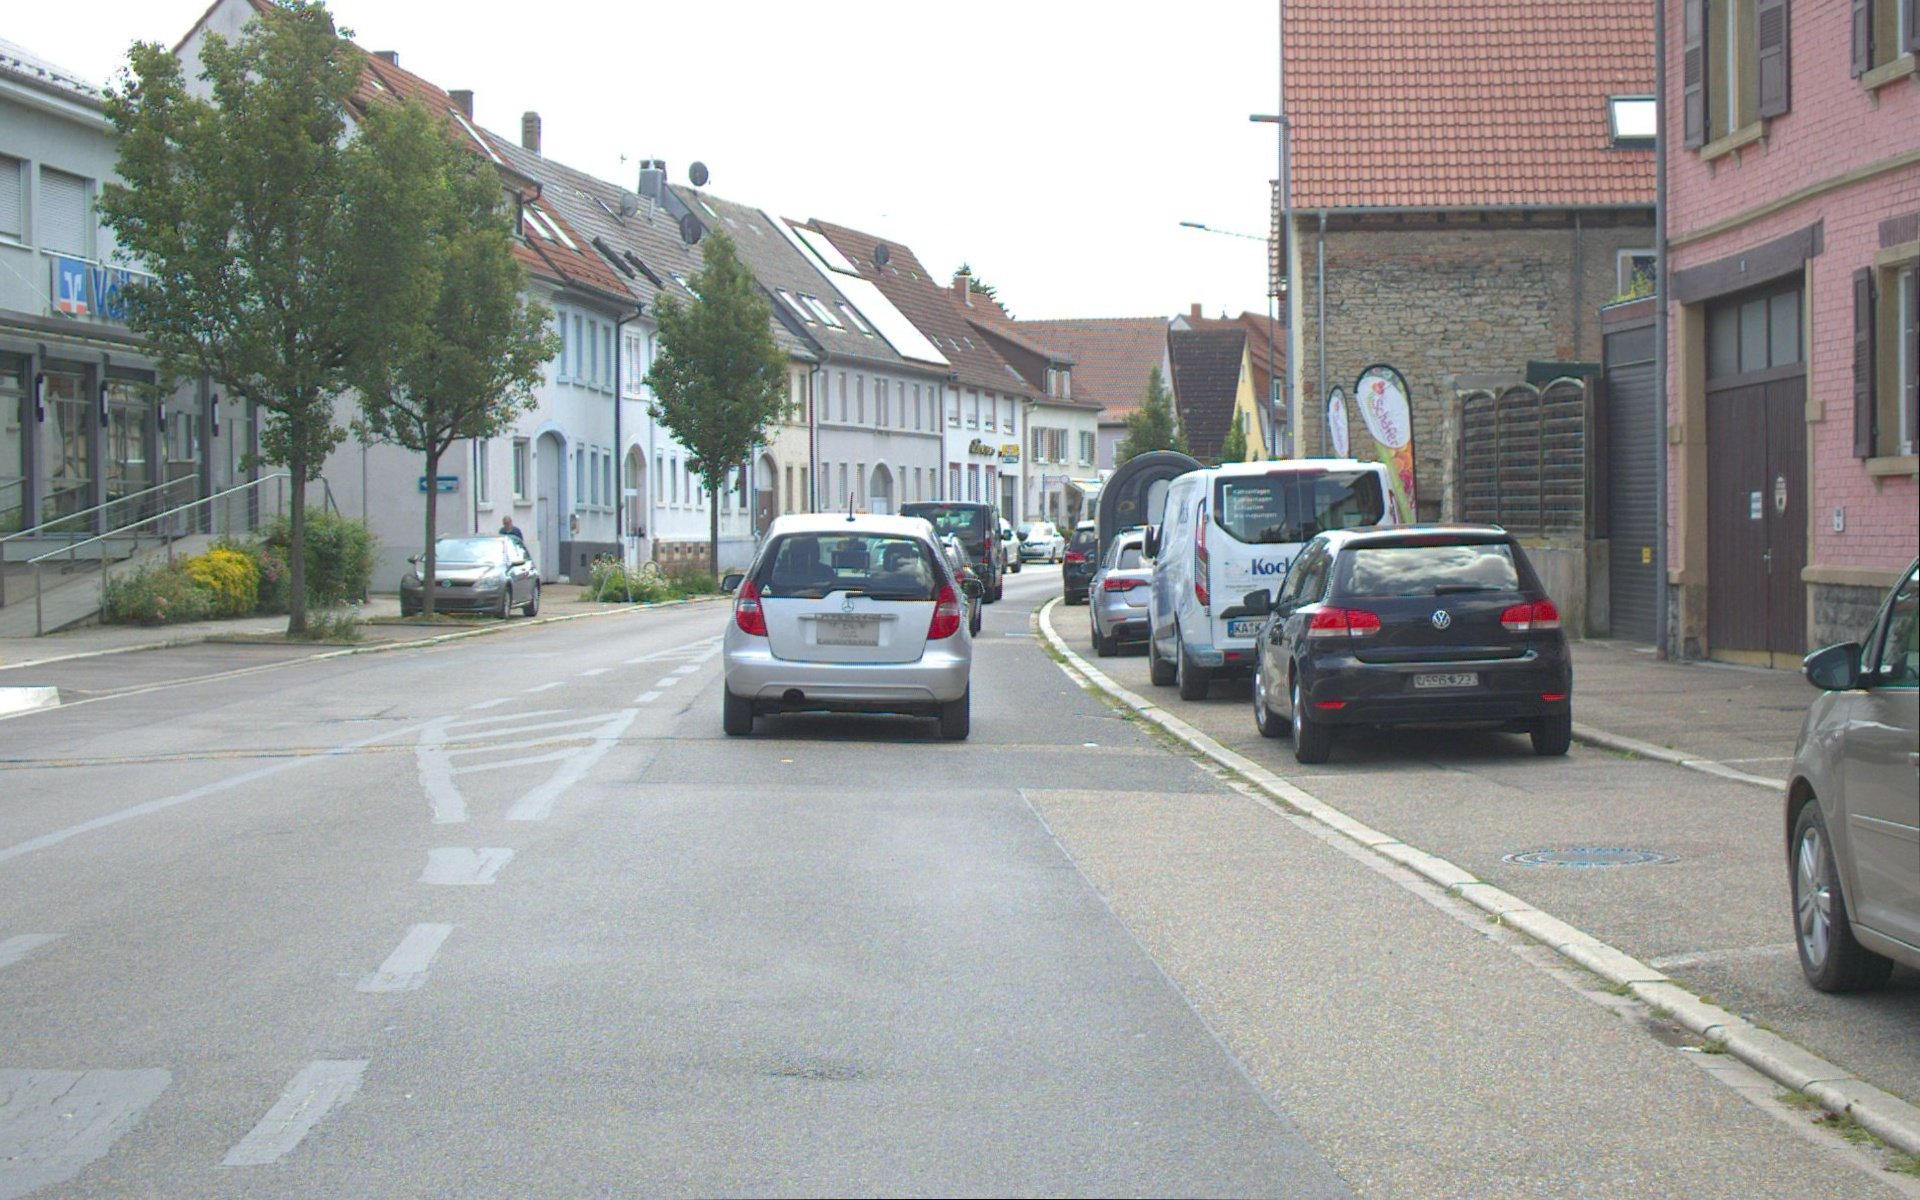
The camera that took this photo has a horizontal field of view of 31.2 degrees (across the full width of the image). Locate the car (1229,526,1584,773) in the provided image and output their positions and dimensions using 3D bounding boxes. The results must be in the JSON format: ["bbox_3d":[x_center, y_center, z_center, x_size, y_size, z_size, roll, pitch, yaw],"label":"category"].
[{"bbox_3d":[2.883,0.264,23.023,1.774,1.490,4.162,0,1,-1],"label":"car"}]

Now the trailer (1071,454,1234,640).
[{"bbox_3d":[2.509,-0.717,45.487,1.845,2.346,3.590,-1,1,-1],"label":"trailer"}]

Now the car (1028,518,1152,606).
[{"bbox_3d":[2.470,-0.738,64.539,1.994,1.554,3.999,-1,1,7],"label":"car"}]

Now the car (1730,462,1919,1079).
[{"bbox_3d":[3.595,0.456,9.309,1.993,1.675,4.323,0,1,-1],"label":"car"}]

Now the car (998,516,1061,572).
[{"bbox_3d":[2.586,-2.055,127.155,1.994,2.007,3.999,-1,0,6],"label":"car"}]

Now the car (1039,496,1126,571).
[{"bbox_3d":[3.781,-2.012,105.188,2.236,2.214,3.999,-1,0,8],"label":"car"}]

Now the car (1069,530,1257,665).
[{"bbox_3d":[2.328,-0.078,40.477,1.875,1.476,4.675,1,1,-1],"label":"car"}]

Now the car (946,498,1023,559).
[{"bbox_3d":[0.757,-2.141,103.511,1.994,1.744,3.999,-1,0,5],"label":"car"}]

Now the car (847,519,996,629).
[{"bbox_3d":[-0.560,-0.369,48.000,1.945,1.402,4.000,2,1,-1],"label":"car"}]

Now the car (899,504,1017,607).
[{"bbox_3d":[-0.005,-0.860,67.612,1.769,1.881,4.446,2,1,6],"label":"car"}]

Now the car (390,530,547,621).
[{"bbox_3d":[-8.287,-0.442,58.286,1.804,1.455,4.158,1,1,4],"label":"car"}]

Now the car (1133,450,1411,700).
[{"bbox_3d":[2.692,-0.251,30.747,1.892,1.975,4.931,-2,1,-1],"label":"car"}]

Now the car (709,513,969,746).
[{"bbox_3d":[-0.872,0.178,25.596,1.769,1.589,4.000,1,1,-1],"label":"car"}]

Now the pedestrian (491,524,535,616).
[{"bbox_3d":[-8.803,-0.596,67.693,0.739,1.795,0.642,-1,0,1],"label":"pedestrian"}]
